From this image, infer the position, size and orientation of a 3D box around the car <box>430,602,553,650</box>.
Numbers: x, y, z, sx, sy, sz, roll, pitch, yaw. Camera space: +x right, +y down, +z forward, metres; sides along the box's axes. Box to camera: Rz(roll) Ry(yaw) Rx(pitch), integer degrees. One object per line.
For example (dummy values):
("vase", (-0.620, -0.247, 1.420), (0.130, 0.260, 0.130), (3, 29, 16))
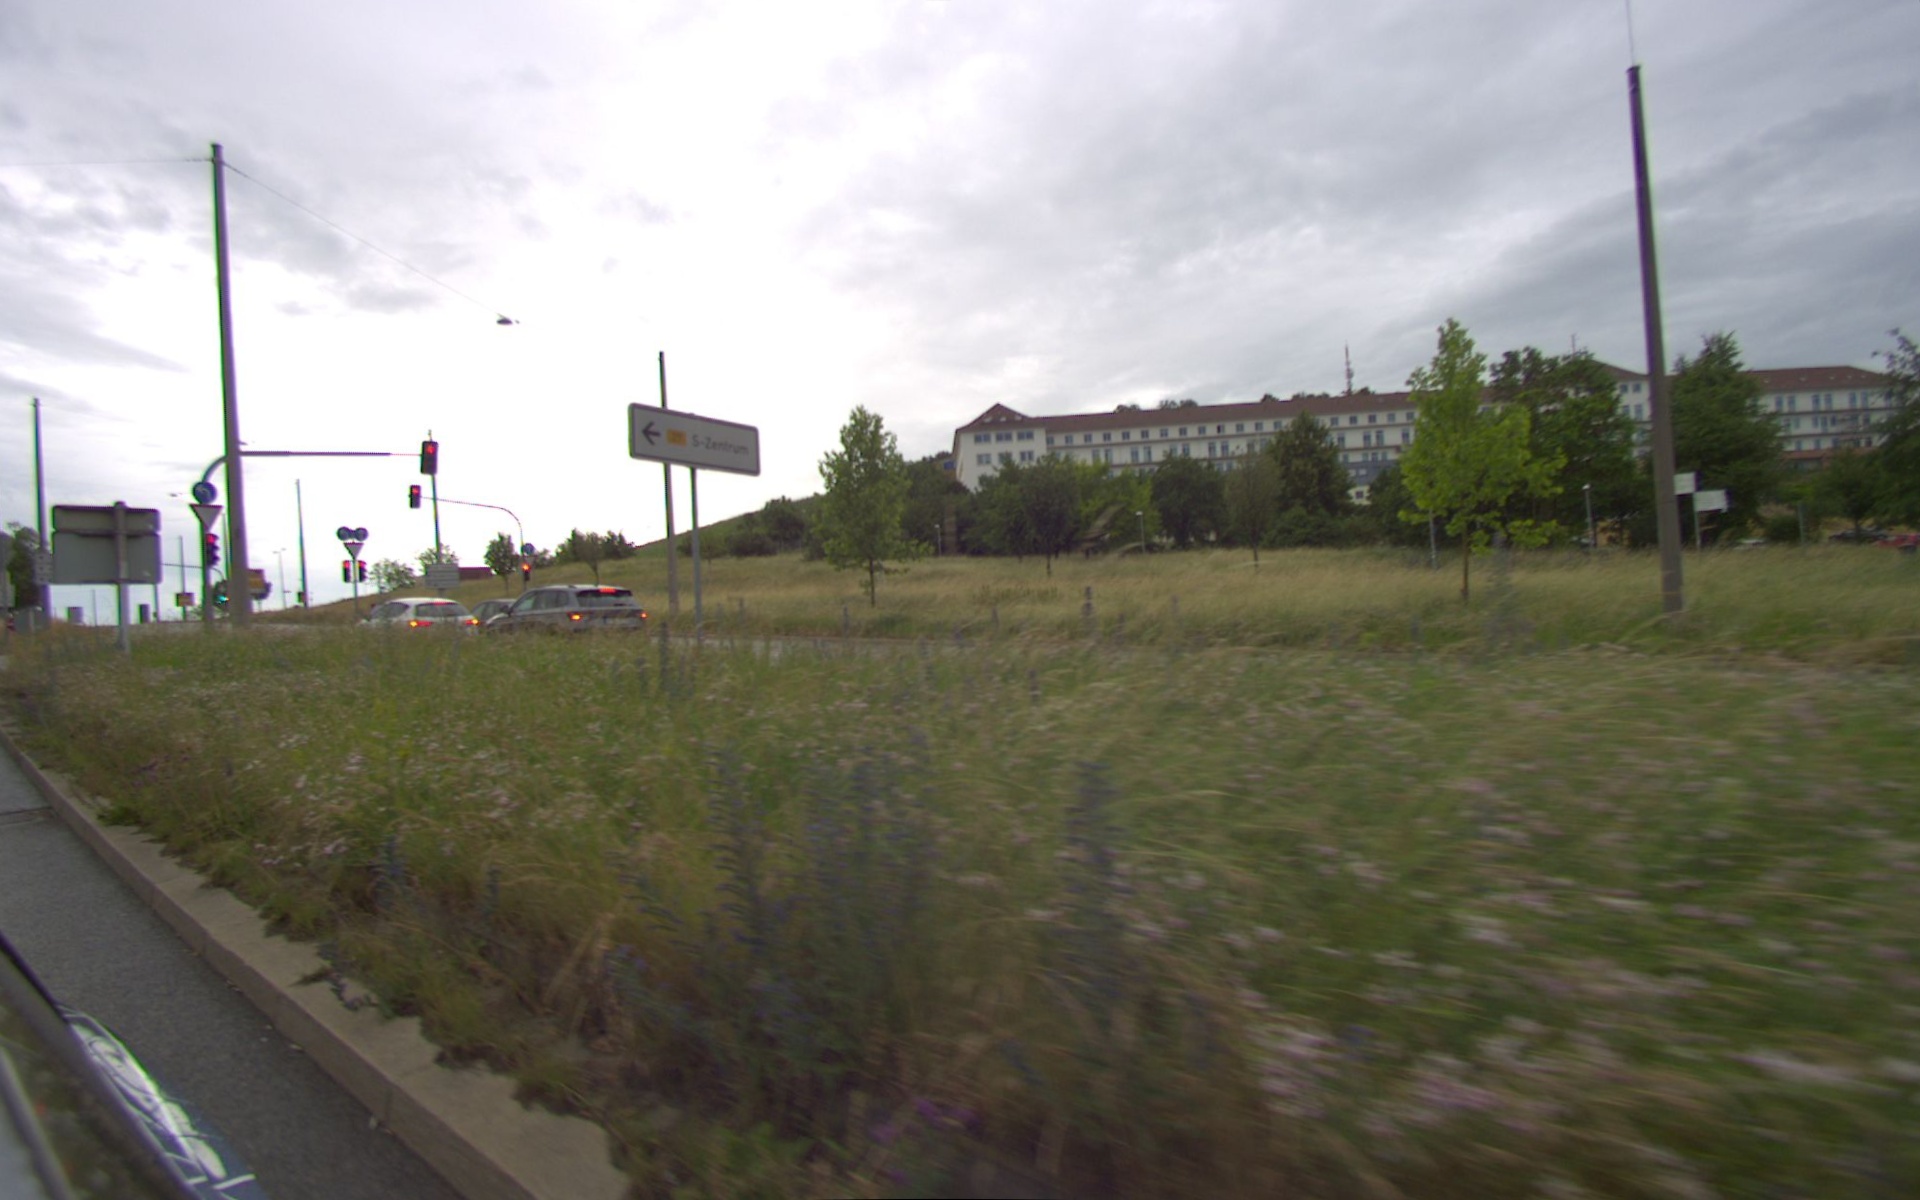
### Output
("car", (-13.887, 0.759, 29.905), (4.015, 1.316, 1.784), (-1, -1, 40))

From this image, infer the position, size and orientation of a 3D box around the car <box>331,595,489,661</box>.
("car", (-13.705, 0.664, 25.126), (4.434, 1.433, 1.941), (-1, 1, 40))

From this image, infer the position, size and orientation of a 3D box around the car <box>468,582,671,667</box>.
("car", (-8.090, 0.482, 20.790), (4.434, 1.523, 1.974), (-1, 1, 40))
